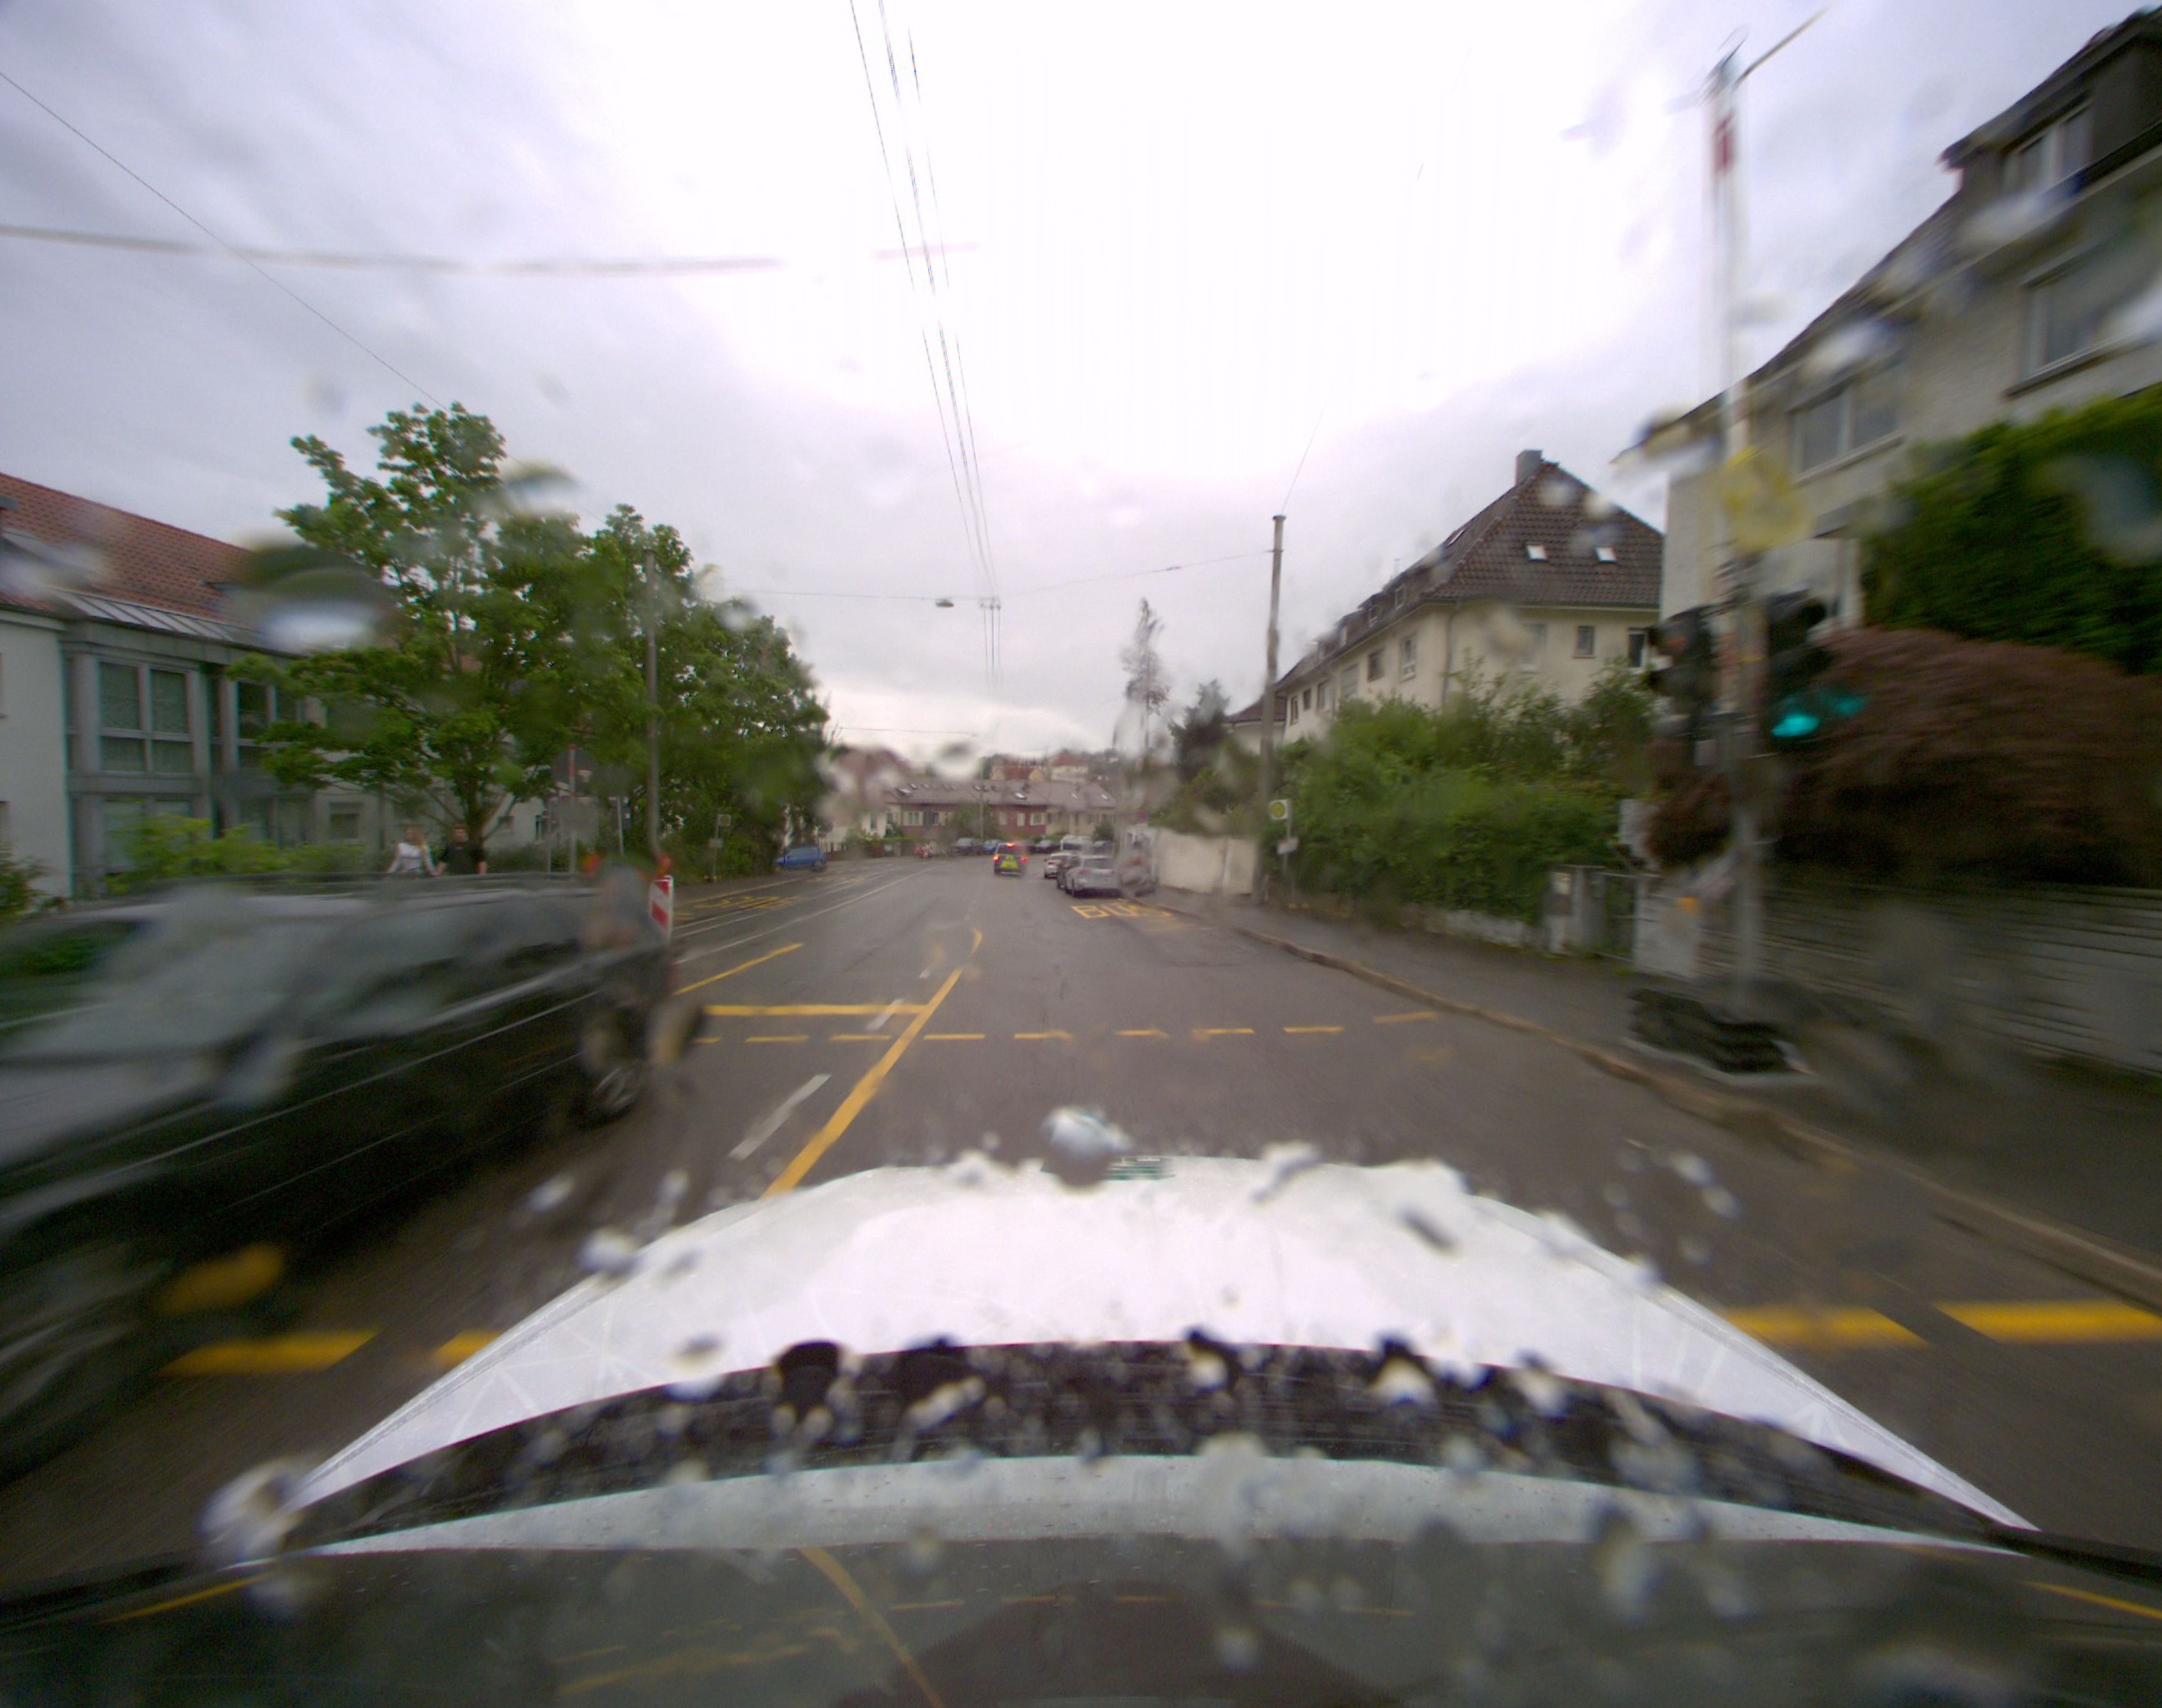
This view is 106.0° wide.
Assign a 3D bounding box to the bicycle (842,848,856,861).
[{"bbox_3d":[-19.364,0.082,67.894,1.311,1.035,0.307,-2,-3,34],"label":"bicycle"}]

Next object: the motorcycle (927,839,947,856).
[{"bbox_3d":[-12.278,-0.531,69.343,1.785,1.303,0.617,7,4,43],"label":"motorcycle"}]

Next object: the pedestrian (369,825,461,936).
[{"bbox_3d":[-11.421,0.421,14.000,0.680,1.816,1.153,2,1,-7],"label":"pedestrian"}]

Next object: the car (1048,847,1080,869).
[{"bbox_3d":[-1.201,0.268,60.169,1.744,1.495,4.192,1,1,6],"label":"car"}]

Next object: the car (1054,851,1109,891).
[{"bbox_3d":[-0.040,0.664,34.143,1.714,1.513,3.987,0,0,-10],"label":"car"}]

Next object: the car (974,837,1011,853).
[{"bbox_3d":[-8.644,-0.918,79.840,1.685,1.404,4.497,5,4,21],"label":"car"}]

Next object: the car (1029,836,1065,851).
[{"bbox_3d":[-3.744,-1.168,89.807,1.792,1.476,4.550,5,3,28],"label":"car"}]

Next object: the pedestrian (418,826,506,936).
[{"bbox_3d":[-10.713,0.438,14.133,0.706,1.816,1.145,2,1,-7],"label":"pedestrian"}]

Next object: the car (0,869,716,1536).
[{"bbox_3d":[-3.456,0.868,3.613,1.694,1.461,4.680,-1,0,-2],"label":"car"}]

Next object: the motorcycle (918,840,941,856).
[{"bbox_3d":[-12.737,-0.505,68.401,1.788,1.279,0.513,3,2,15],"label":"motorcycle"}]

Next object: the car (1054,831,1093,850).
[{"bbox_3d":[-0.844,-1.571,94.910,1.831,2.078,5.053,5,3,34],"label":"car"}]

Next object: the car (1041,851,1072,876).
[{"bbox_3d":[-1.485,0.537,48.087,1.701,1.414,4.037,1,0,-3],"label":"car"}]

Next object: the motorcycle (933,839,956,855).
[{"bbox_3d":[-11.872,-0.648,70.851,1.904,1.271,0.572,3,3,-16],"label":"motorcycle"}]

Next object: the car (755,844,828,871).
[{"bbox_3d":[-18.274,0.246,51.478,3.963,1.666,1.820,1,-1,-43],"label":"car"}]

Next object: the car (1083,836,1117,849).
[{"bbox_3d":[2.379,-1.390,99.744,1.791,1.476,4.551,6,3,38],"label":"car"}]

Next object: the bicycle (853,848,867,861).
[{"bbox_3d":[-18.226,0.035,67.088,1.287,1.035,0.307,-2,-3,32],"label":"bicycle"}]

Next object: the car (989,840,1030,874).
[{"bbox_3d":[-4.346,0.159,49.634,2.305,1.939,4.318,-2,0,-5],"label":"car"}]

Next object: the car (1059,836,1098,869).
[{"bbox_3d":[-0.139,-0.144,65.667,2.085,2.542,5.637,1,1,11],"label":"car"}]

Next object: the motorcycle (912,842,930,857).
[{"bbox_3d":[-13.092,-0.399,66.736,0.505,1.139,1.933,1,2,22],"label":"motorcycle"}]

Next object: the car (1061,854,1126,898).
[{"bbox_3d":[0.379,0.733,29.189,1.779,1.420,4.420,0,0,-7],"label":"car"}]

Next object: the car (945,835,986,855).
[{"bbox_3d":[-10.591,-0.861,74.939,1.907,1.576,4.408,5,3,17],"label":"car"}]
